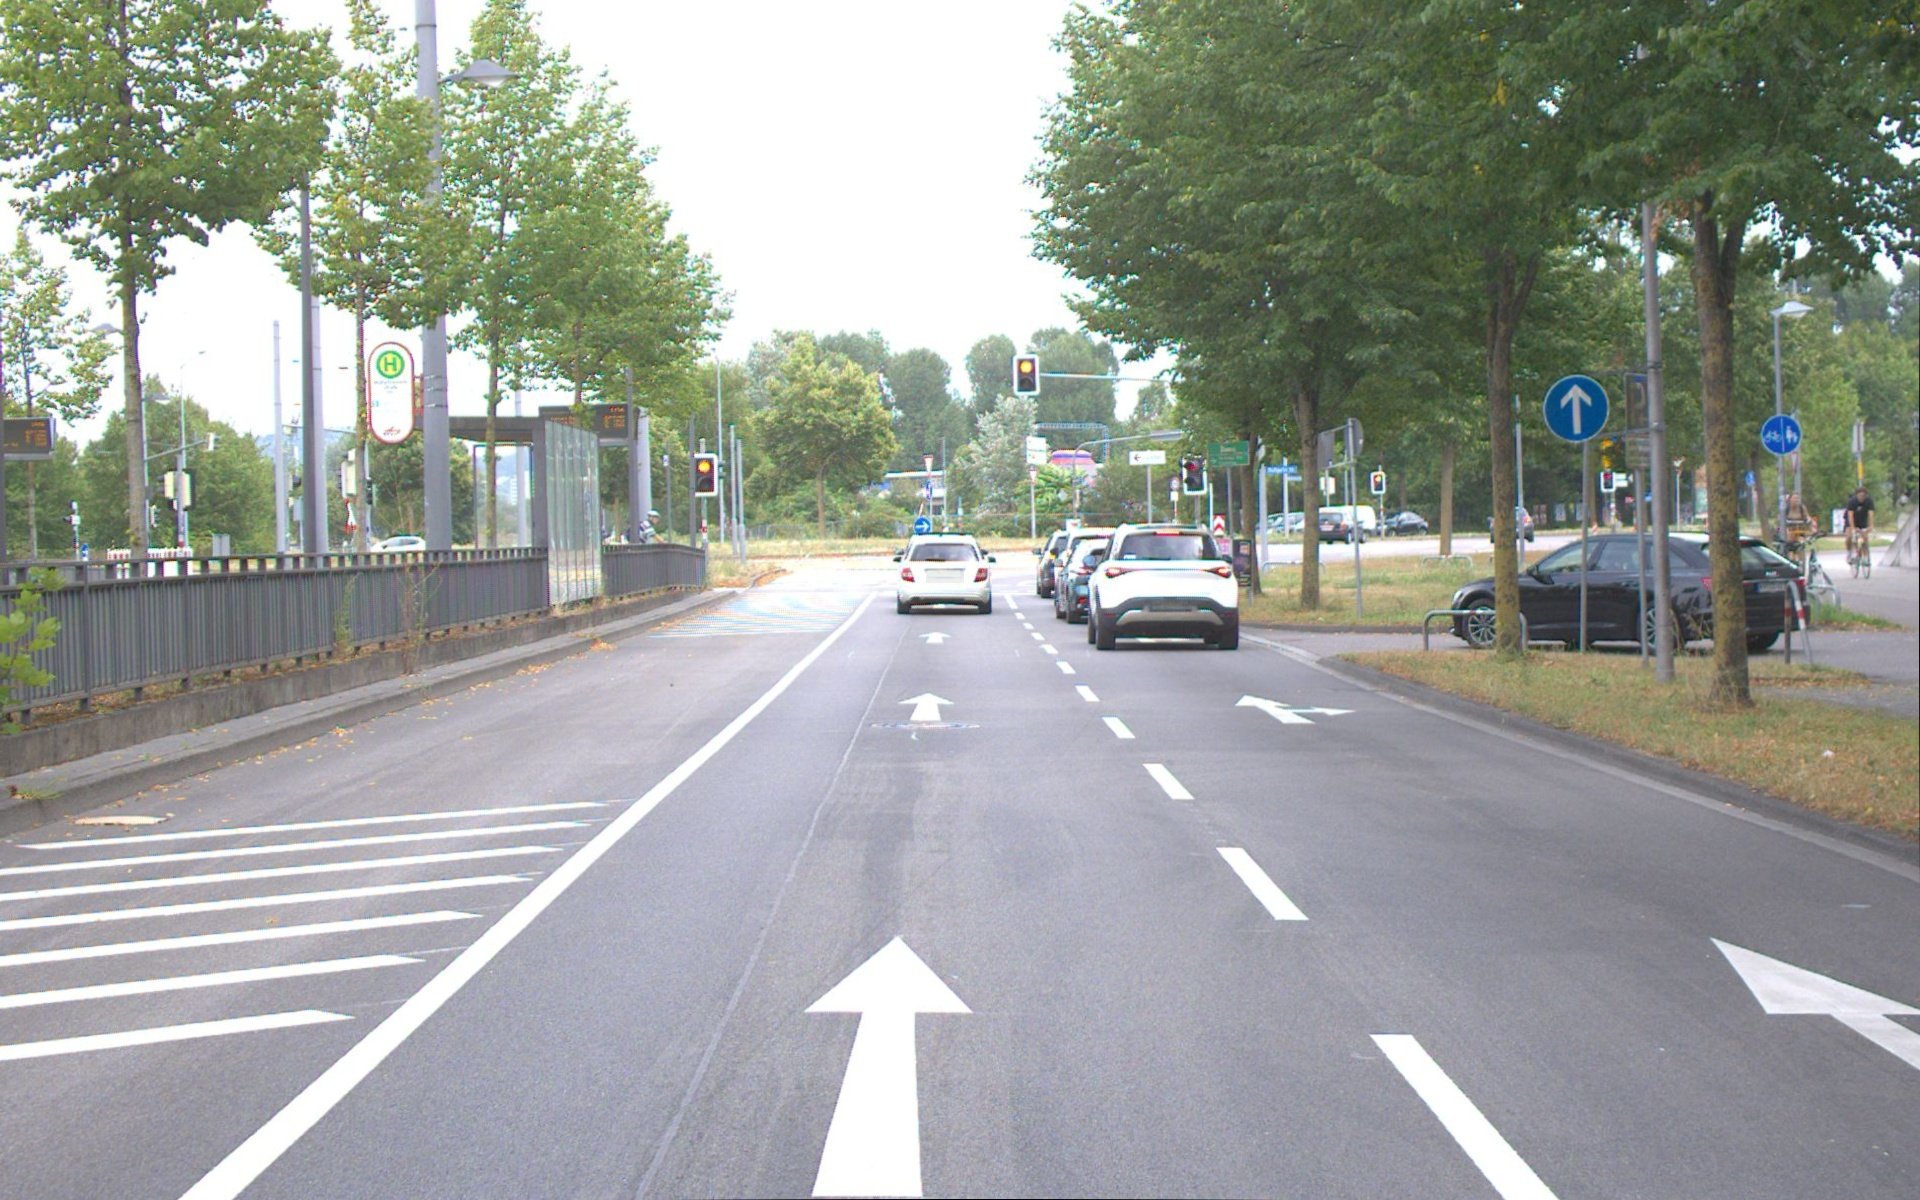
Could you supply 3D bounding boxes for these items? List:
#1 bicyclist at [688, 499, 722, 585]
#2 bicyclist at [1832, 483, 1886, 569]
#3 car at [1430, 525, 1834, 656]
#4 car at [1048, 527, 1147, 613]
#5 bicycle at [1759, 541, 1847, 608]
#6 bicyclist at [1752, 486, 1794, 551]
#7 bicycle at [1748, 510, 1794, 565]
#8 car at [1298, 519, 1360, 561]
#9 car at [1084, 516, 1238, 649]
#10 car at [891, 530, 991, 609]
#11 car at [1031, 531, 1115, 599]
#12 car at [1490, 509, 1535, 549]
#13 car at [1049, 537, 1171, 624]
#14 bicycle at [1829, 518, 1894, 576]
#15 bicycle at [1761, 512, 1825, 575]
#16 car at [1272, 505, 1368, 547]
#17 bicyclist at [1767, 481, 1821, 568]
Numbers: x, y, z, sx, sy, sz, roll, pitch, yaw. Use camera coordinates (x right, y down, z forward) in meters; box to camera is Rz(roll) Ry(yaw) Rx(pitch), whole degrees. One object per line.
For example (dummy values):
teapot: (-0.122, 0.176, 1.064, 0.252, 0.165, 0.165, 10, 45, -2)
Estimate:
bicyclist: (-5.913, -1.354, 79.737, 0.728, 1.878, 0.735, -1, 11, -4)
bicyclist: (16.711, -1.382, 63.944, 0.724, 1.577, 0.990, -1, 1, 0)
car: (8.167, -0.131, 42.211, 1.941, 1.470, 4.870, -2, 1, -35)
car: (2.703, -0.620, 68.192, 1.787, 1.619, 3.910, -1, 1, 0)
bicycle: (12.456, -0.392, 50.857, 0.629, 0.952, 2.108, -1, 1, -4)
bicyclist: (22.716, -2.280, 96.051, 0.866, 1.783, 1.175, -1, 1, -1)
bicycle: (22.654, -1.740, 96.041, 0.705, 1.500, 2.008, -1, 1, -3)
car: (15.953, -2.589, 148.786, 1.993, 1.785, 4.001, 1, 1, -3)
car: (2.621, -0.261, 45.615, 1.779, 1.651, 4.023, -1, 1, 0)
car: (-0.387, -0.605, 64.900, 1.773, 1.443, 3.911, 0, 1, -2)
car: (2.466, -0.793, 75.796, 1.624, 1.443, 3.911, 0, 1, -2)
car: (23.087, -2.972, 143.550, 1.784, 1.630, 4.400, -1, 1, 10)
car: (2.590, -0.369, 60.120, 1.787, 1.427, 4.311, -1, 1, -2)
bicycle: (16.727, -0.990, 63.832, 0.673, 1.038, 2.007, -1, 1, 0)
bicycle: (15.421, -1.058, 63.666, 0.673, 1.139, 2.007, -1, 1, 0)
car: (18.065, -3.723, 172.272, 4.986, 2.007, 1.999, -2, 2, -43)
bicyclist: (15.408, -1.396, 63.534, 0.724, 1.577, 0.990, -1, 1, 0)
